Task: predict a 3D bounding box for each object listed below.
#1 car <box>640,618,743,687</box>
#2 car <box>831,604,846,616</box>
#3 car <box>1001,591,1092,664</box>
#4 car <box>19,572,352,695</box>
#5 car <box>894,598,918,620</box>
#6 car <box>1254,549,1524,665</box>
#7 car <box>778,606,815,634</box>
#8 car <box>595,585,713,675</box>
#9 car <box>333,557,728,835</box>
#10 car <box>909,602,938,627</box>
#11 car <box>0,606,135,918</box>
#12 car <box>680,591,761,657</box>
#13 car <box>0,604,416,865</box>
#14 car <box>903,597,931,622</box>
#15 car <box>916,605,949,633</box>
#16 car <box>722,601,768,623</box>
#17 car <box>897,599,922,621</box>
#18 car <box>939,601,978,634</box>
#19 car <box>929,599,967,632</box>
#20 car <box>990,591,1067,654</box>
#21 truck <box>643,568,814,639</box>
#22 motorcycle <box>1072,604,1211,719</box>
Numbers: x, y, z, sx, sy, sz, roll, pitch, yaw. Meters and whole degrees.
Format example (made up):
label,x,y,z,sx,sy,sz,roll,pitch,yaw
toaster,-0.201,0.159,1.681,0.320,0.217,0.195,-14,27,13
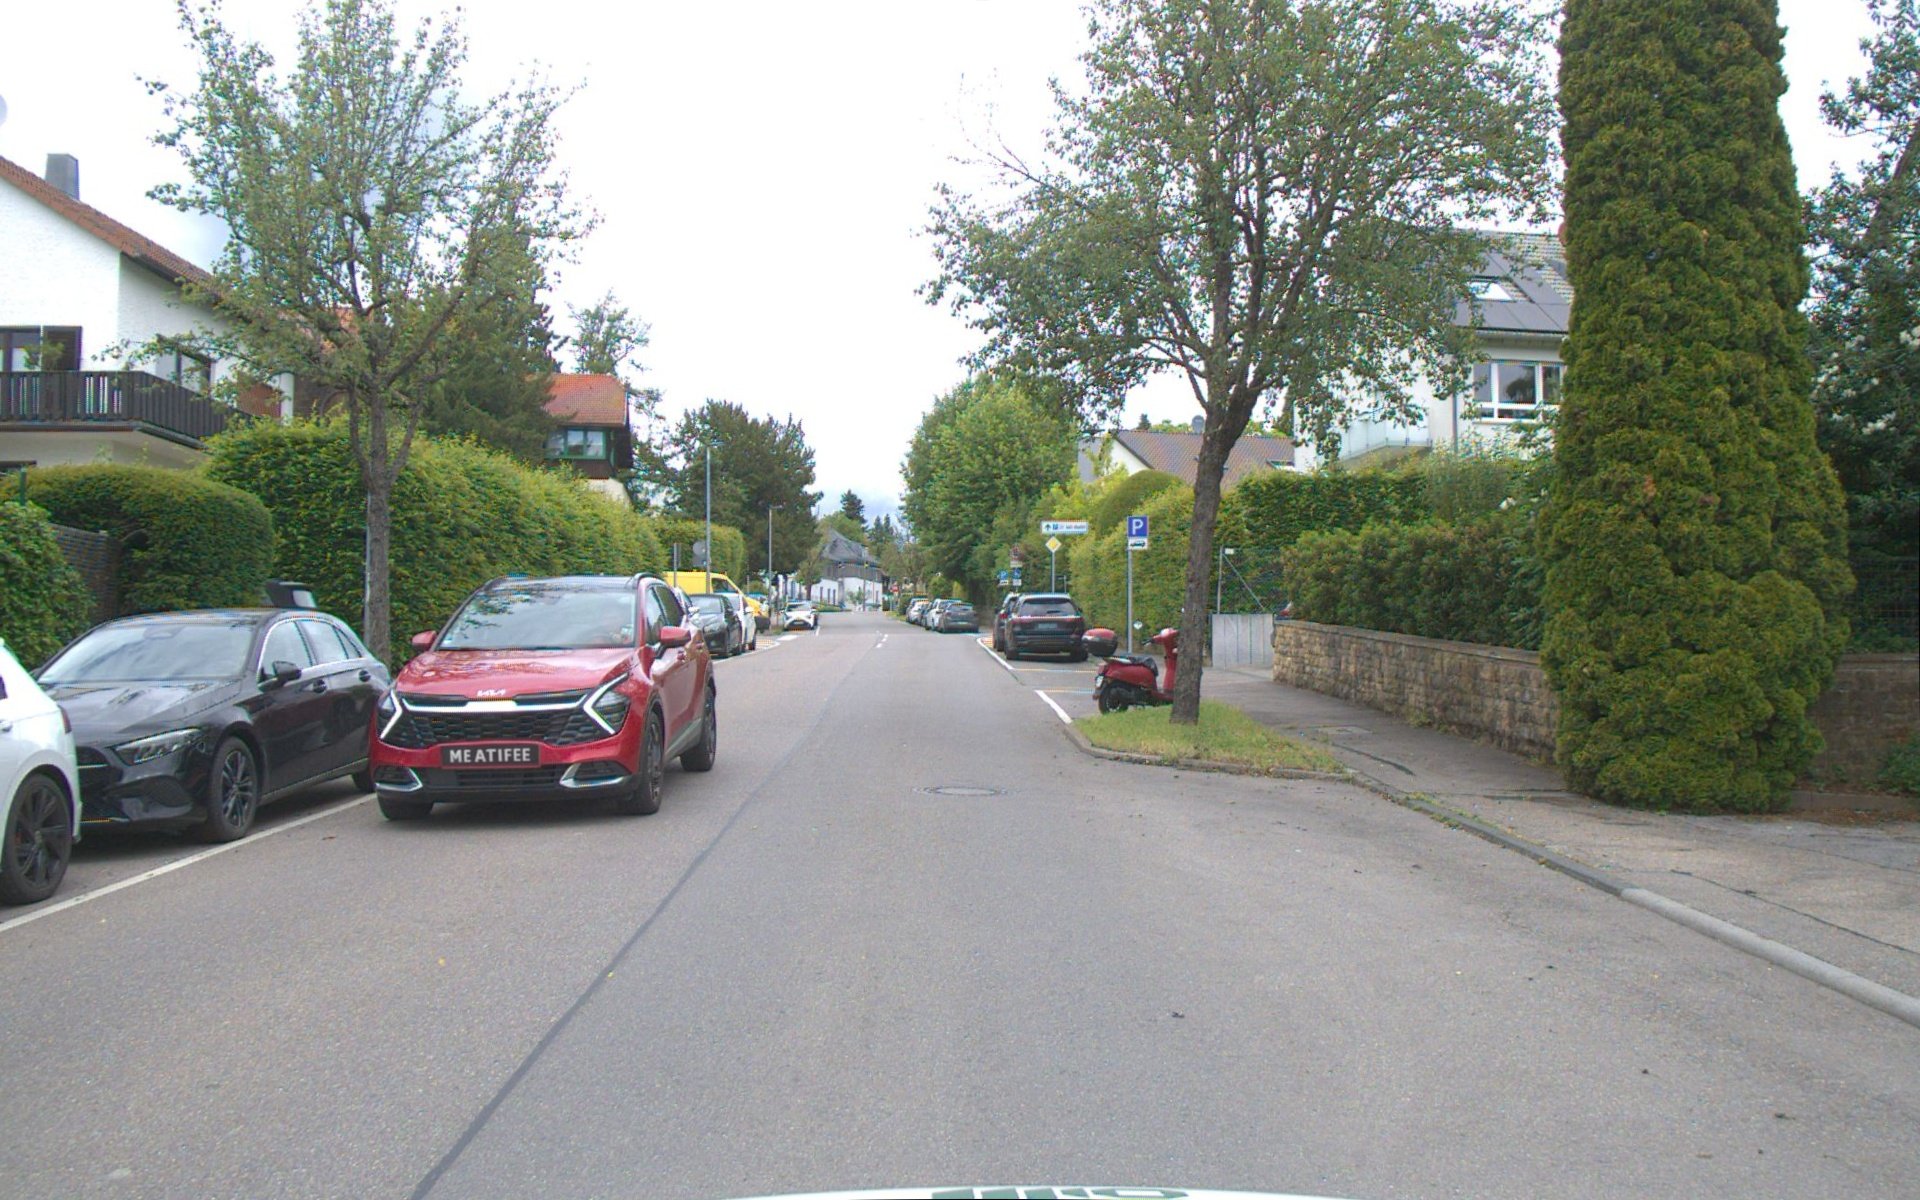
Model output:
label,x,y,z,sx,sy,sz,roll,pitch,yaw
car,-6.002,1.158,37.394,1.727,1.412,3.998,-2,-1,-2
car,-14.791,1.223,201.444,1.787,1.445,3.996,0,0,-5
car,1.963,0.593,38.681,1.844,1.560,4.475,1,0,0
car,-11.052,0.448,23.774,3.904,1.560,1.788,2,1,2
car,-4.219,0.670,128.413,1.611,1.697,3.463,0,0,-5
car,7.780,0.114,30.256,4.280,1.493,1.967,-8,1,-3
car,-8.634,1.047,87.146,1.635,1.424,3.459,0,0,-10
car,-5.737,0.519,31.390,1.688,1.567,3.997,-1,0,-4
car,-2.996,0.597,12.527,1.902,1.676,4.256,-2,0,-1
car,-2.374,0.914,106.298,1.632,1.527,3.463,0,0,-5
car,-5.368,0.792,6.825,1.800,1.447,4.406,-2,0,-2
car,-6.088,0.585,42.334,1.597,1.550,3.637,-2,1,-2
car,-5.251,0.776,11.378,1.692,1.448,4.078,-1,0,-1
car,-2.947,0.642,112.996,1.632,1.697,3.463,0,0,-5
car,-1.616,1.078,95.753,1.632,1.527,3.463,0,0,-5
car,-17.981,1.007,138.429,3.773,1.767,1.639,0,0,-9
car,-3.685,0.724,120.816,1.632,1.527,3.463,0,0,-5
car,-0.096,0.849,81.716,1.632,1.527,3.463,0,0,-5
car,-0.663,0.788,86.475,1.680,1.686,3.618,0,0,-5
car,1.790,0.562,44.450,1.844,1.560,4.475,1,0,0
truck,-8.576,0.178,61.045,5.842,2.349,2.810,1,-3,-19
motorcycle,2.296,0.747,20.763,1.849,1.370,0.591,0,0,-38
